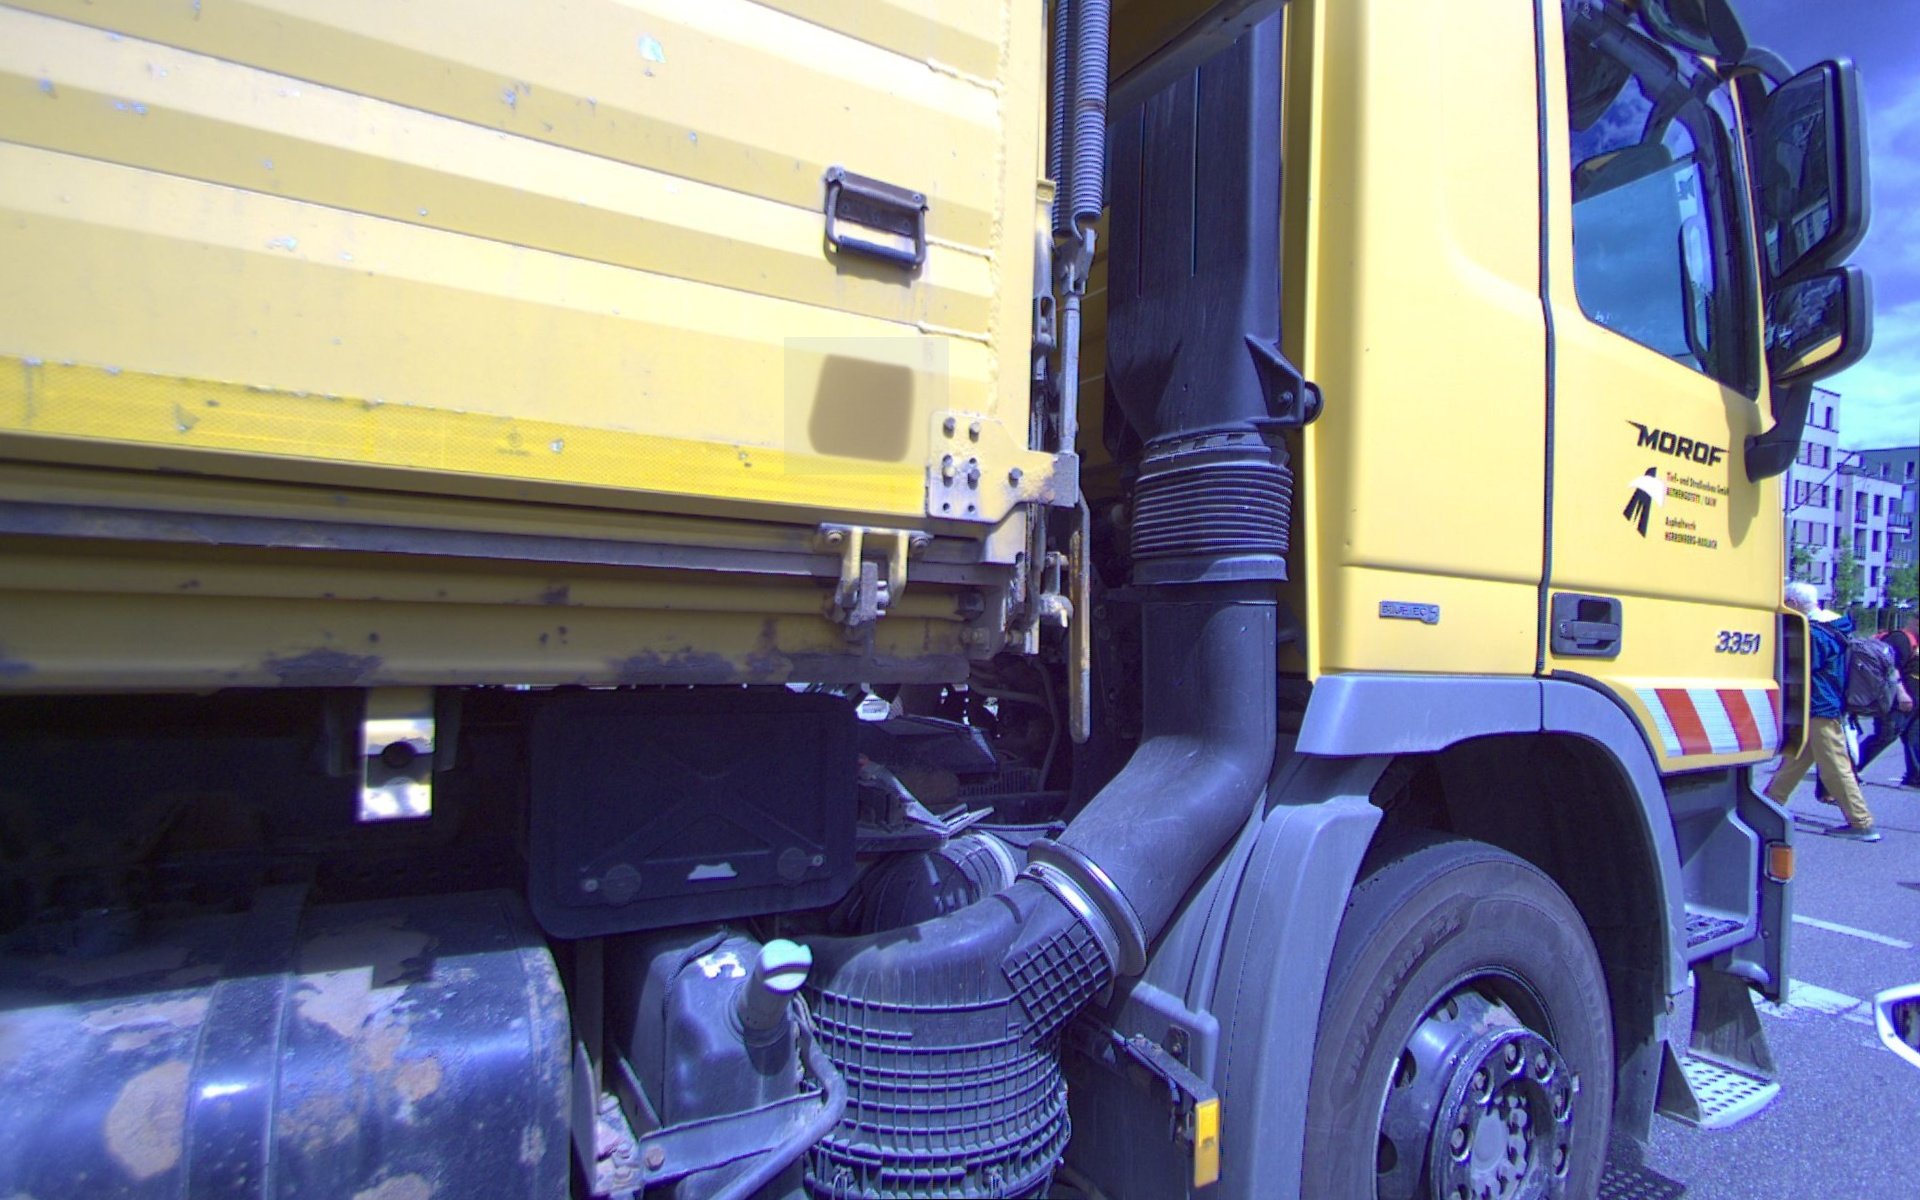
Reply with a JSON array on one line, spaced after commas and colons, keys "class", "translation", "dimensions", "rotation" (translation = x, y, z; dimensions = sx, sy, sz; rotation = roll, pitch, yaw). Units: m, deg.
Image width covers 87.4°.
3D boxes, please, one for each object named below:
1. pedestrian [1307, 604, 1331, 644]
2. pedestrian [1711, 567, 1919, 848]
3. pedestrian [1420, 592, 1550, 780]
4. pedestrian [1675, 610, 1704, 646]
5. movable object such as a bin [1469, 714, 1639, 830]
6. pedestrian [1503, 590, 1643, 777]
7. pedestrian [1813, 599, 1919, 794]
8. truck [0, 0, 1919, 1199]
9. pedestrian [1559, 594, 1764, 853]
[{"class": "pedestrian", "translation": [15.670, 1.031, 43.868], "dimensions": [0.907, 1.698, 1.101], "rotation": [1, 0, 19]}, {"class": "pedestrian", "translation": [6.071, 0.686, 7.090], "dimensions": [0.940, 1.798, 1.002], "rotation": [1, 1, -38]}, {"class": "pedestrian", "translation": [4.924, 0.760, 9.442], "dimensions": [0.725, 1.662, 0.818], "rotation": [0, 1, -32]}, {"class": "pedestrian", "translation": [31.870, 1.214, 43.907], "dimensions": [0.628, 1.536, 0.827], "rotation": [1, 0, -30]}, {"class": "movable object such as a bin", "translation": [4.319, 1.226, 7.330], "dimensions": [0.768, 0.671, 0.792], "rotation": [1, 0, -30]}, {"class": "pedestrian", "translation": [5.784, 0.745, 9.495], "dimensions": [0.757, 1.656, 0.863], "rotation": [1, 0, -33]}, {"class": "pedestrian", "translation": [8.212, 0.810, 8.839], "dimensions": [0.899, 1.618, 0.886], "rotation": [1, 0, -36]}, {"class": "truck", "translation": [-1.718, -0.239, 1.621], "dimensions": [7.916, 3.439, 3.033], "rotation": [1, 0, -32]}, {"class": "pedestrian", "translation": [4.644, 0.754, 6.680], "dimensions": [0.737, 1.575, 0.877], "rotation": [1, 0, -29]}]
